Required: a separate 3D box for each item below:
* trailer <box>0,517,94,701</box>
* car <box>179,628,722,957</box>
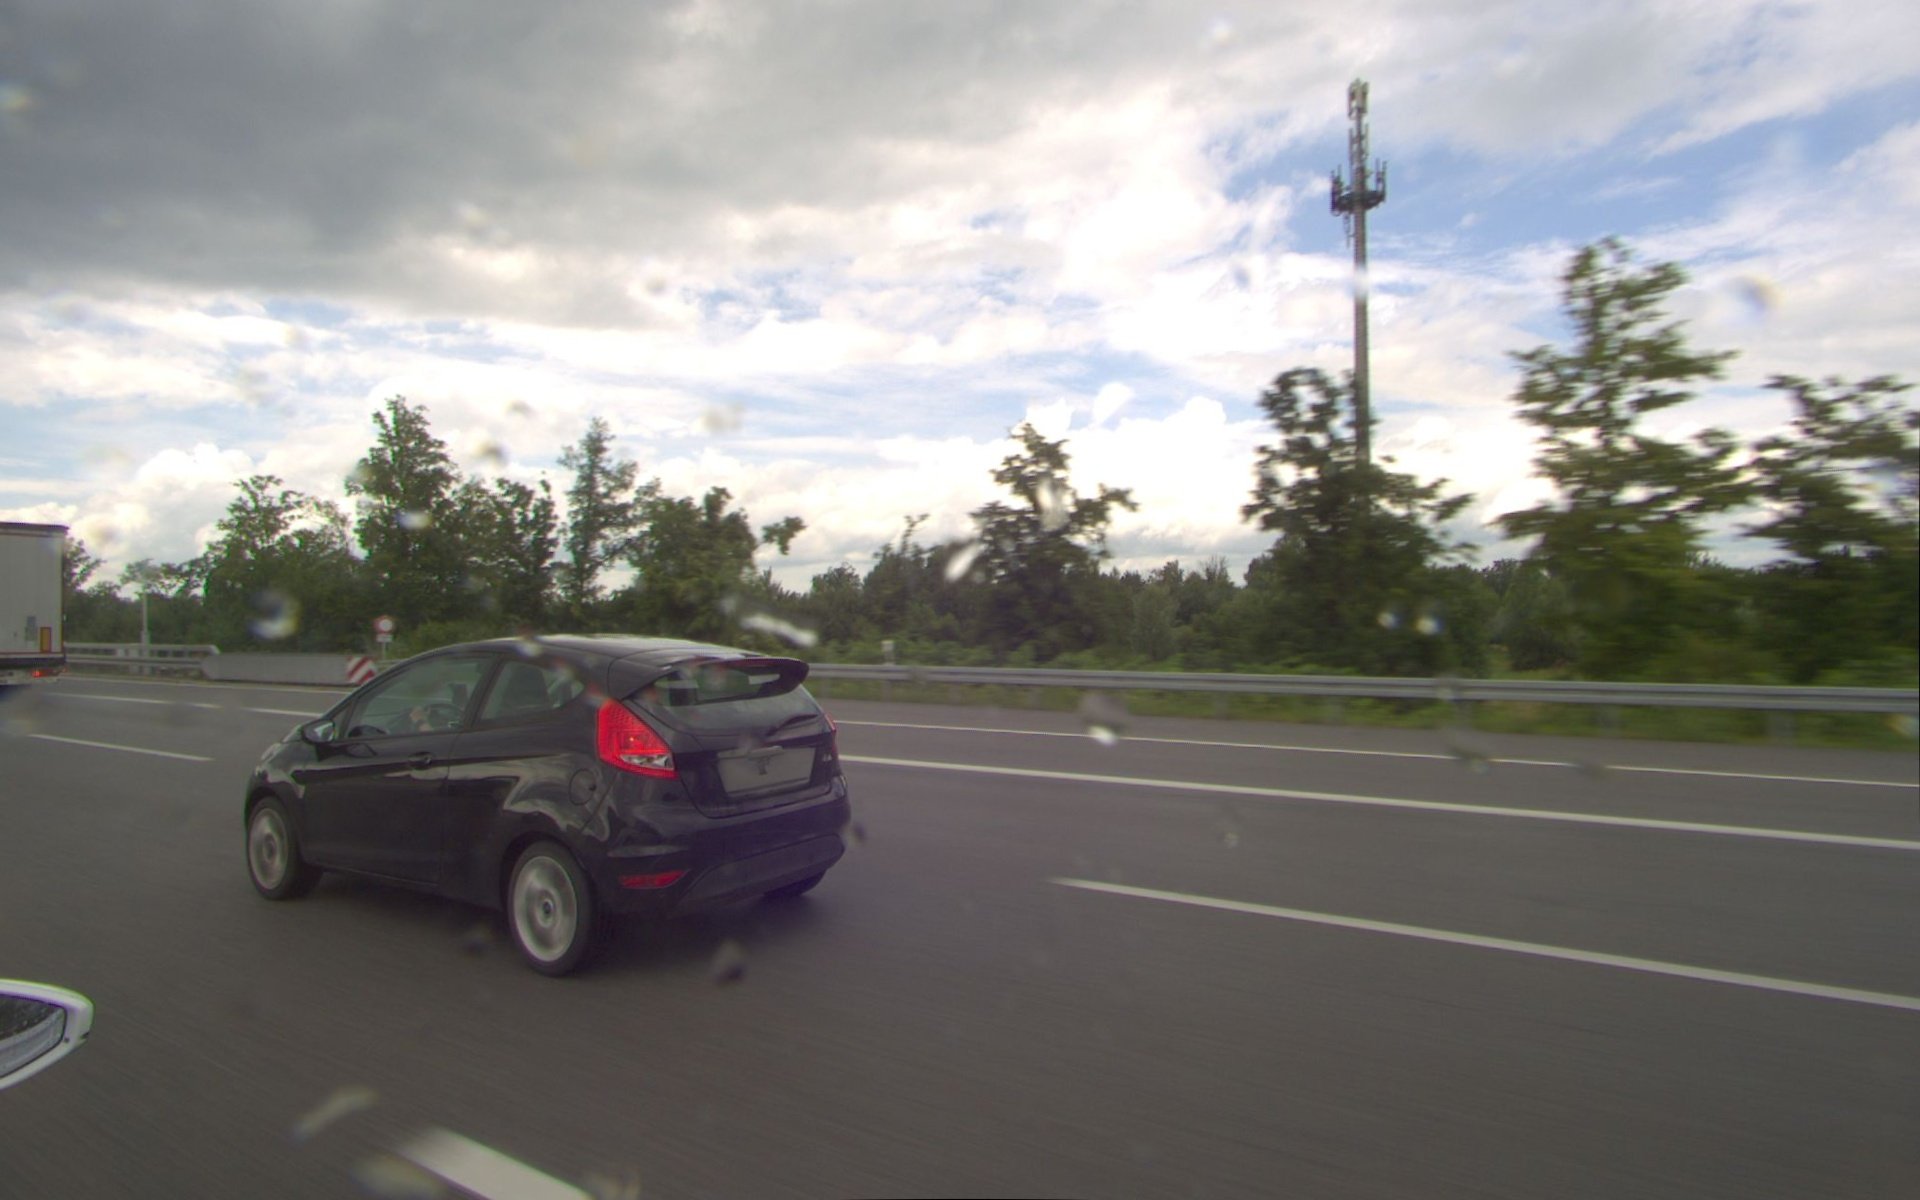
[{"bbox_3d":[-26.957,0.289,26.033,13.919,4.071,2.956,-1,-2,33],"label":"trailer"},{"bbox_3d":[-3.052,0.899,5.892,3.118,1.460,1.445,-1,-2,32],"label":"car"}]
